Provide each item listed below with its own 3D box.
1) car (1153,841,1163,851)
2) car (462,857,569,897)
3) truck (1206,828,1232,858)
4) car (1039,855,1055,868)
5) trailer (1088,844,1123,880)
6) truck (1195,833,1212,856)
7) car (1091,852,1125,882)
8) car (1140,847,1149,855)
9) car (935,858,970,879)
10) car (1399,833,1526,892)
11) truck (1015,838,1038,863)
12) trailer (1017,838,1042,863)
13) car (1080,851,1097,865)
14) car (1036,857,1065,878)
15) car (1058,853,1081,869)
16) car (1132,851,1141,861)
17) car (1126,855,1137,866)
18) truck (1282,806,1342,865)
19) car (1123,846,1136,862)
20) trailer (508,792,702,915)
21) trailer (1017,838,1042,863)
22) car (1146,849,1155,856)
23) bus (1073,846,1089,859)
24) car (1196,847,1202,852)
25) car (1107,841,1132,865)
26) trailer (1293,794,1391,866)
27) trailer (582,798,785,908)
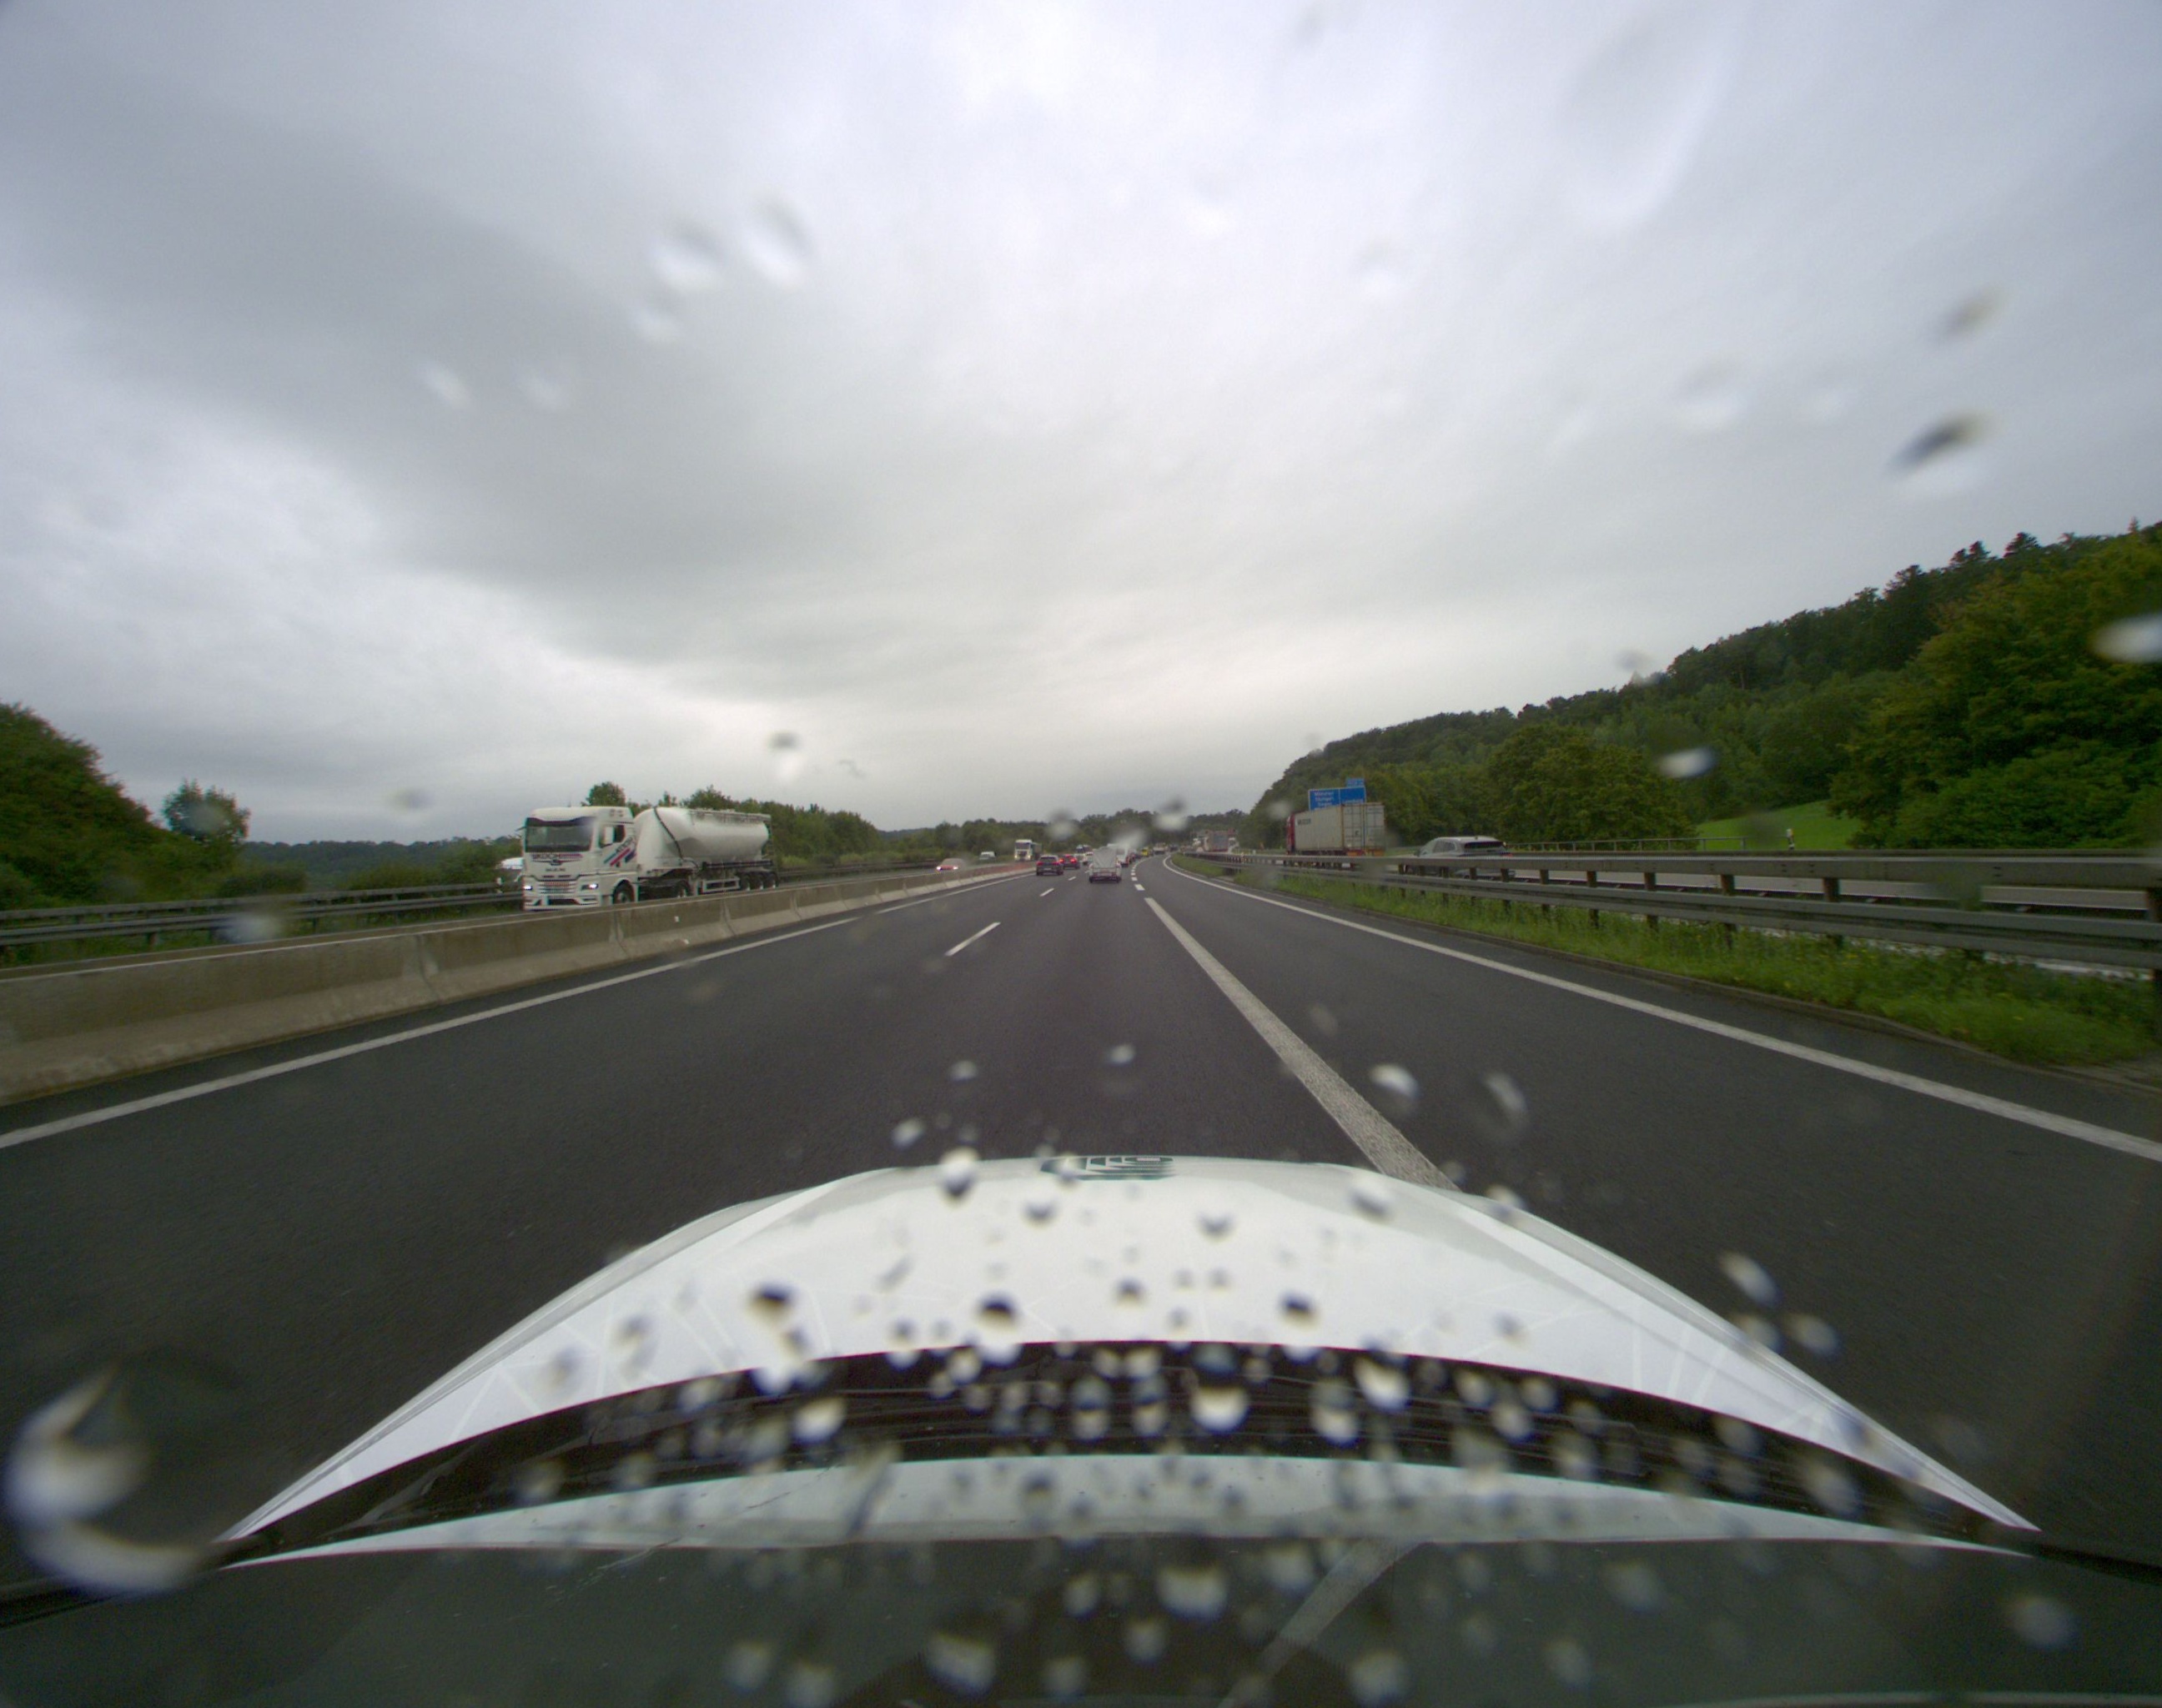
[{"bbox_3d":[21.815,-2.203,230.412,2.503,2.574,5.321,-1,0,6],"label":"car"},{"bbox_3d":[-30.318,1.180,43.909,1.867,2.014,5.301,-1,0,2],"label":"car"},{"bbox_3d":[22.939,-1.766,136.177,3.200,4.666,13.050,-1,0,5],"label":"truck"},{"bbox_3d":[-5.134,1.178,122.719,1.887,1.876,4.547,-1,0,4],"label":"car"},{"bbox_3d":[1.349,0.414,44.004,1.668,1.812,4.005,-1,0,4],"label":"trailer"},{"bbox_3d":[26.705,-1.961,177.791,3.199,4.666,13.056,-1,0,7],"label":"truck"},{"bbox_3d":[1.642,0.741,47.664,1.810,1.616,4.783,-1,0,4],"label":"car"},{"bbox_3d":[14.156,-0.686,180.509,1.666,1.812,4.010,-1,0,9],"label":"car"},{"bbox_3d":[-10.246,1.169,65.266,1.801,1.580,4.359,-1,0,3],"label":"car"},{"bbox_3d":[11.544,0.258,25.055,1.763,1.610,4.644,-1,0,1],"label":"car"},{"bbox_3d":[-8.559,-0.548,128.392,2.874,3.749,5.950,-1,0,3],"label":"truck"},{"bbox_3d":[-8.247,-0.533,132.596,2.890,3.749,8.936,-1,0,3],"label":"trailer"},{"bbox_3d":[0.962,0.476,103.549,1.767,1.640,4.048,-1,0,5],"label":"car"},{"bbox_3d":[-2.213,0.957,59.915,1.669,1.456,4.003,-1,0,3],"label":"car"},{"bbox_3d":[-1.095,0.688,80.586,1.757,1.456,4.006,-1,0,5],"label":"car"},{"bbox_3d":[10.325,0.386,151.770,1.668,1.812,4.004,-1,0,4],"label":"car"},{"bbox_3d":[8.097,1.027,129.288,1.668,1.812,4.004,-1,0,4],"label":"car"},{"bbox_3d":[16.219,-1.243,57.561,2.605,3.884,6.396,-1,0,3],"label":"truck"},{"bbox_3d":[6.487,-0.012,109.102,1.669,2.067,4.002,-1,0,2],"label":"car"},{"bbox_3d":[-16.095,-0.002,28.181,2.626,3.715,6.496,-1,0,2],"label":"trailer"},{"bbox_3d":[-8.247,-0.533,132.596,2.890,3.749,8.936,-1,0,3],"label":"trailer"},{"bbox_3d":[17.146,-0.335,200.016,2.027,1.683,4.007,-1,0,7],"label":"car"},{"bbox_3d":[0.058,-0.398,204.216,2.685,2.958,11.915,1,-1,6],"label":"bus"},{"bbox_3d":[36.170,-1.413,249.185,1.666,1.456,4.009,-1,0,8],"label":"car"},{"bbox_3d":[4.362,-0.074,90.630,2.496,2.585,5.707,-1,0,5],"label":"car"},{"bbox_3d":[15.933,-1.295,50.957,2.593,3.894,12.499,-1,0,3],"label":"trailer"},{"bbox_3d":[-15.819,-0.010,33.774,2.626,3.736,10.818,-1,0,3],"label":"trailer"}]
